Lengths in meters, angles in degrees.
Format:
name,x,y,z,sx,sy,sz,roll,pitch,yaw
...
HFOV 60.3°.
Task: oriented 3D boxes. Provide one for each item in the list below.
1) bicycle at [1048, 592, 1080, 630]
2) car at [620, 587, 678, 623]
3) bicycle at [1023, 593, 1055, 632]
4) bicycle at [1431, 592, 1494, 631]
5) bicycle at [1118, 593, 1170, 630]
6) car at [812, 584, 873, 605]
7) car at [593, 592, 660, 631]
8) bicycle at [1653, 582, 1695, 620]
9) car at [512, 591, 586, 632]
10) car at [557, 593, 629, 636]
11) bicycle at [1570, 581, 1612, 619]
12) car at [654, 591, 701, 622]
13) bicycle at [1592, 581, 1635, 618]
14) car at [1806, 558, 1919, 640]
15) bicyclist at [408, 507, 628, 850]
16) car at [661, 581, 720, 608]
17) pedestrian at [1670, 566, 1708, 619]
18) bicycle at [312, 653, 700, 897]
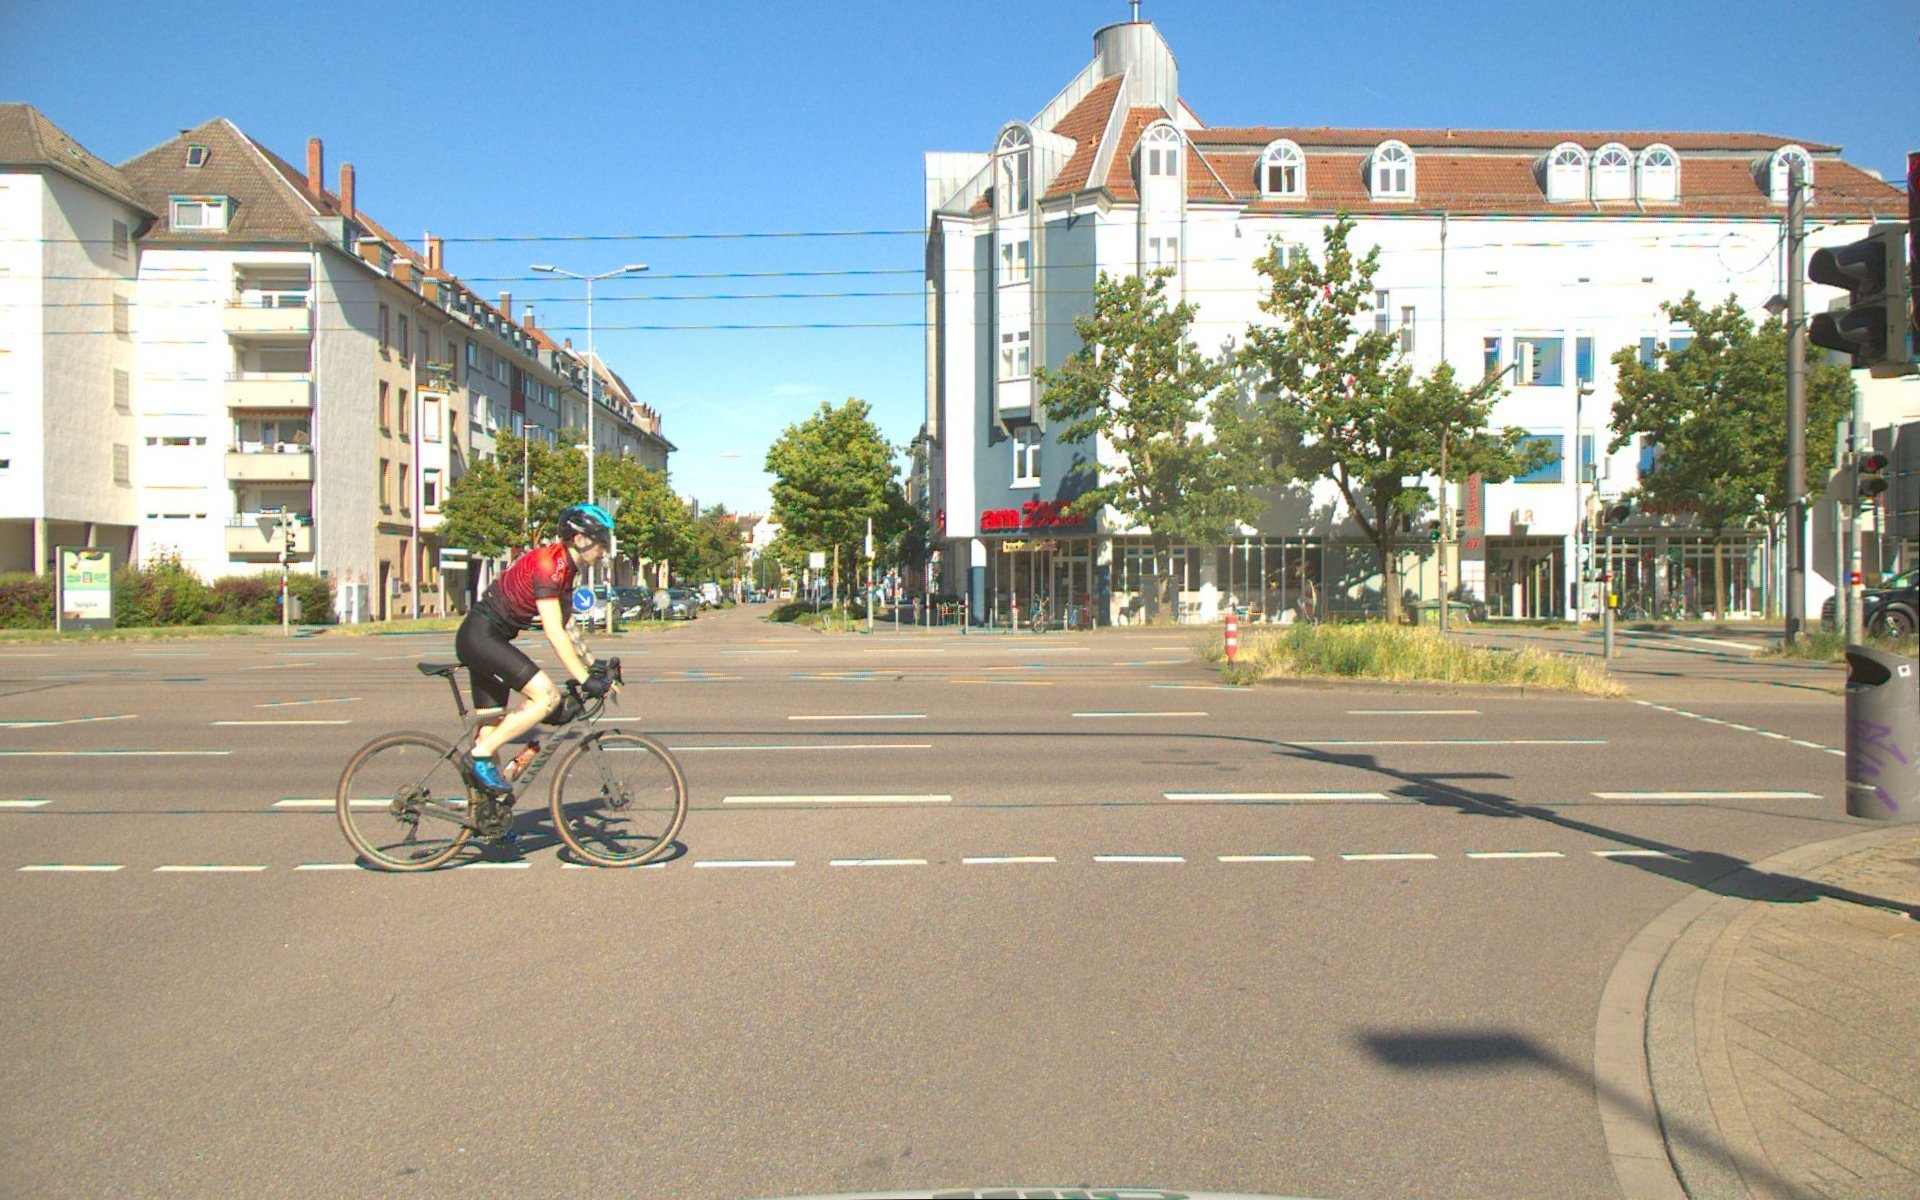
name,x,y,z,sx,sy,sz,roll,pitch,yaw
bicycle,2.911,0.302,46.343,0.463,1.045,1.510,-1,0,-14
car,-13.579,0.218,72.465,1.653,1.457,4.399,2,0,0
bicycle,2.177,0.333,45.788,0.463,1.045,1.511,-1,0,-13
bicycle,16.069,0.360,52.895,1.828,1.203,0.561,-1,0,-7
bicycle,5.357,0.343,48.199,1.479,1.045,0.473,-1,0,8
car,-7.047,-0.326,98.785,3.501,1.245,1.727,0,-1,-9
car,-13.367,0.447,66.497,1.653,1.457,4.400,2,0,1
bicycle,23.426,0.028,54.307,0.549,1.203,1.869,-1,0,-1
car,-15.547,0.417,62.772,1.653,1.457,4.399,2,0,0
car,-13.207,0.500,59.693,1.654,1.457,4.398,2,0,-1
bicycle,20.705,-0.012,54.285,0.549,1.203,1.868,-1,0,-4
car,-13.848,0.305,81.244,1.654,1.457,4.398,2,0,-2
bicycle,21.573,-0.012,54.636,0.549,1.203,1.868,-1,0,-4
car,20.180,-0.032,34.137,4.405,1.637,2.002,-1,0,7
bicyclist,-2.169,0.364,8.223,0.984,1.613,0.671,-1,0,-12
car,-20.983,-0.404,128.993,4.417,2.049,1.998,0,-1,-6
pedestrian,24.492,-0.245,55.563,0.970,1.753,0.653,-1,0,-4
bicycle,-2.209,0.834,8.218,1.774,1.073,0.671,-1,0,-12
